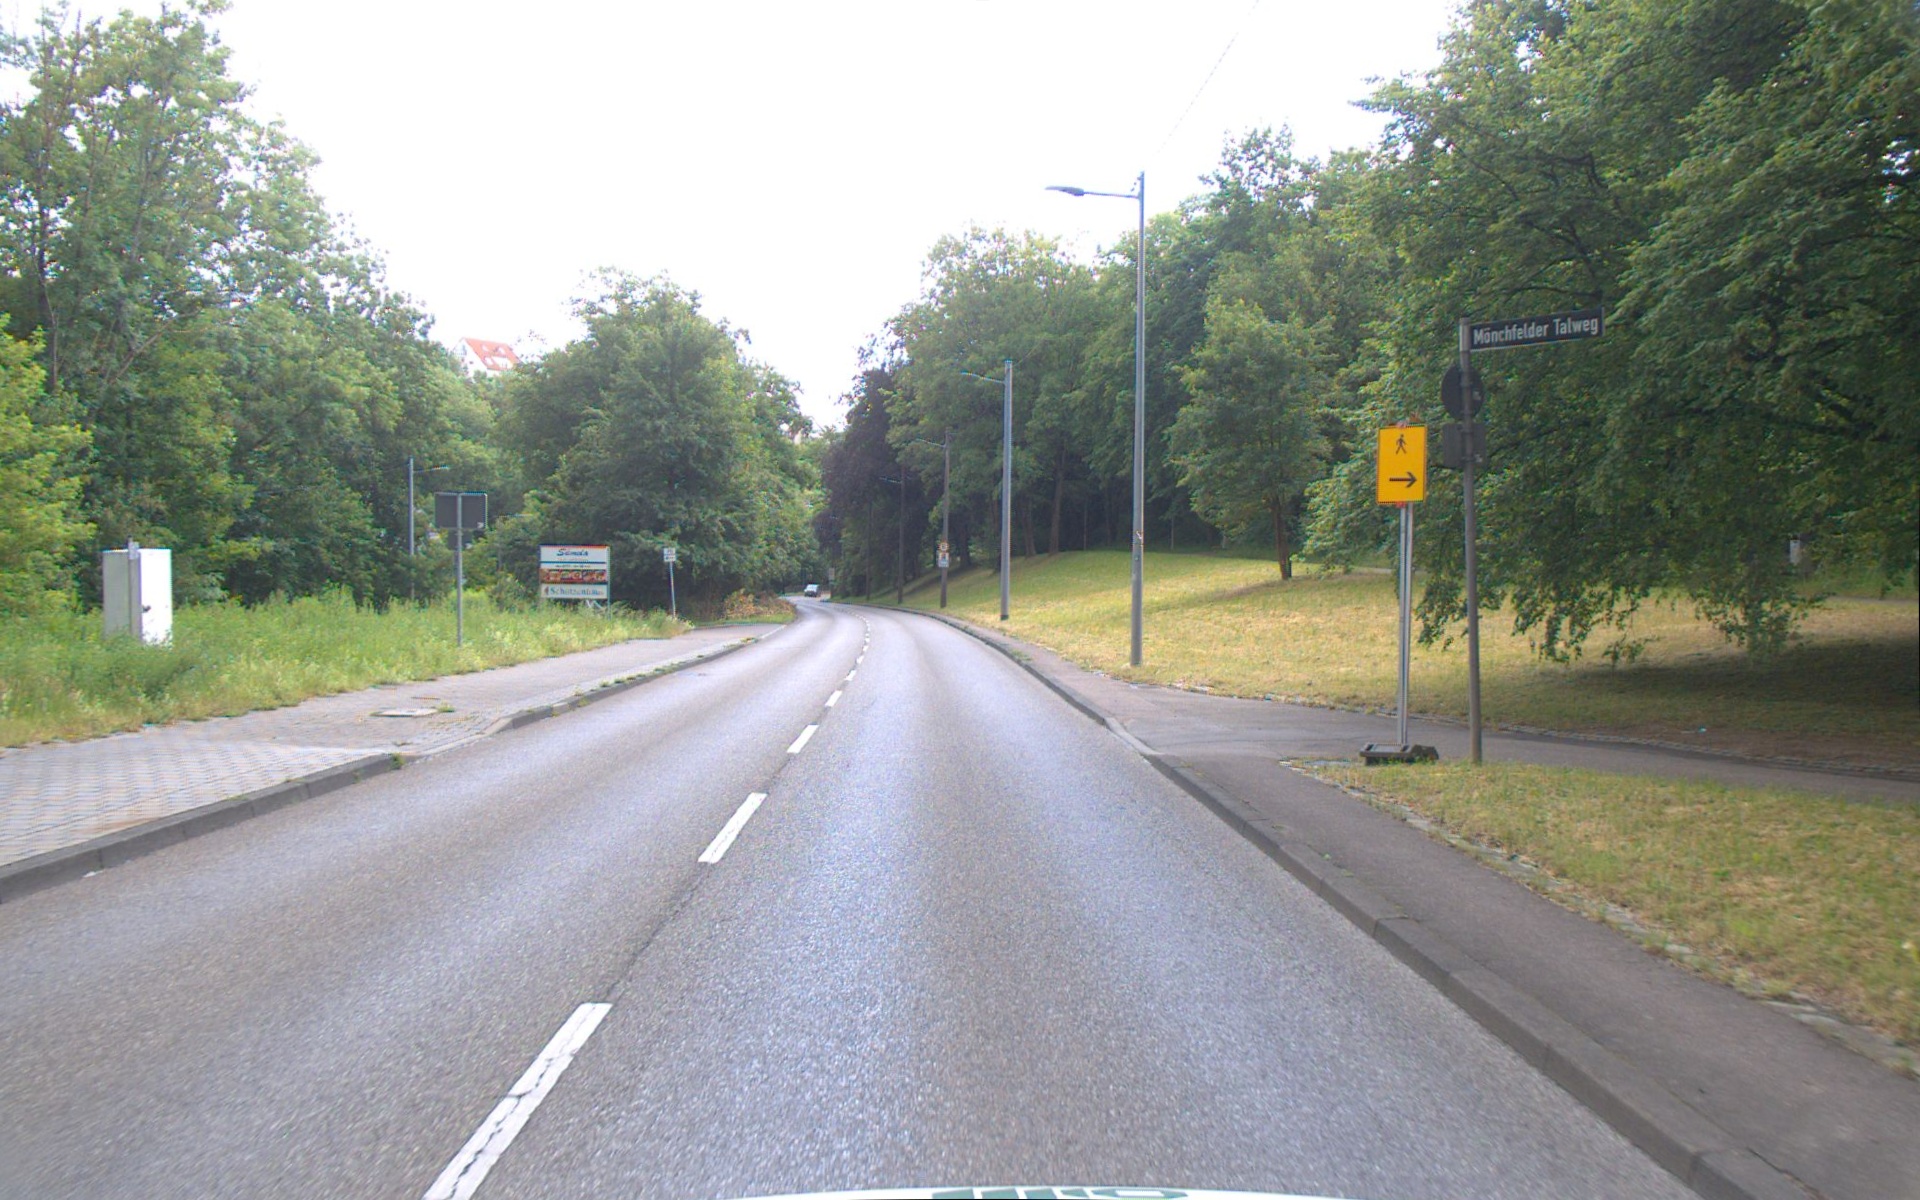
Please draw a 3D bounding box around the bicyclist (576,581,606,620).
[{"bbox_3d":[-13.855,0.022,62.167,0.823,1.452,0.768,1,-1,-45],"label":"bicyclist"}]

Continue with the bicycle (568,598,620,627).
[{"bbox_3d":[-13.743,0.465,62.040,0.824,1.054,2.406,2,-1,-42],"label":"bicycle"}]

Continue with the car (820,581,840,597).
[{"bbox_3d":[-16.853,-1.398,215.244,1.952,2.049,4.002,1,0,4],"label":"car"}]
